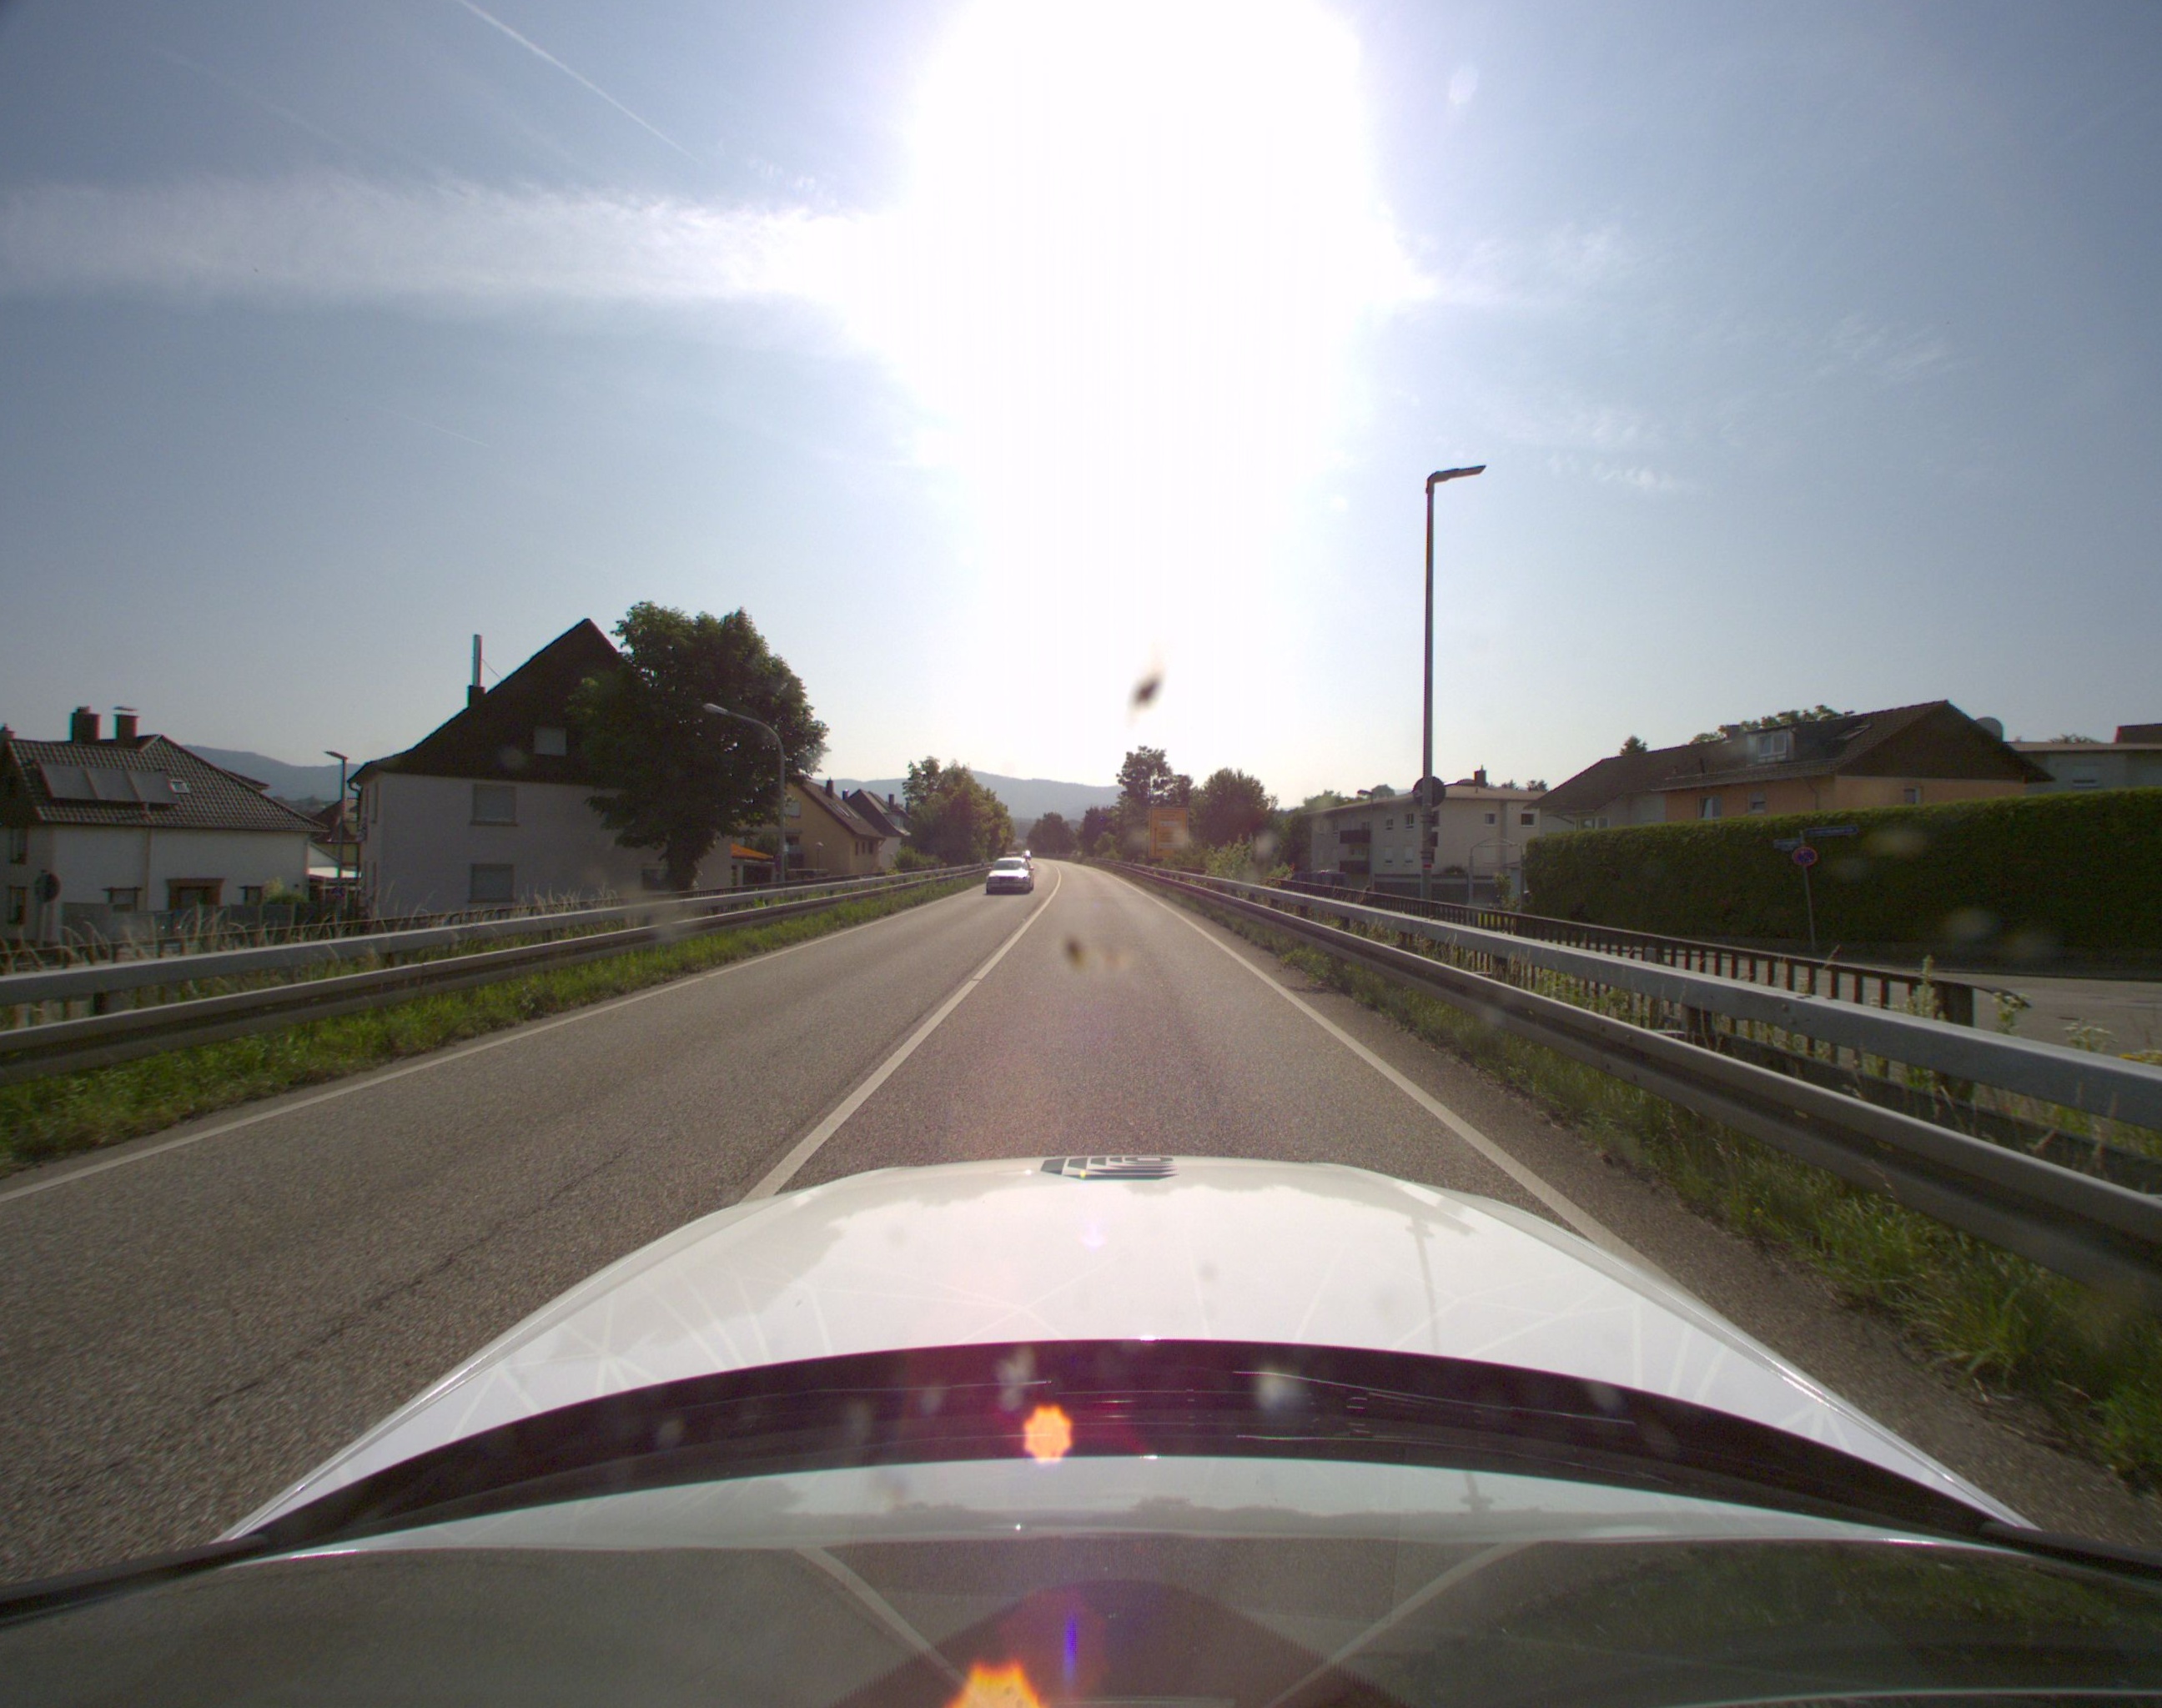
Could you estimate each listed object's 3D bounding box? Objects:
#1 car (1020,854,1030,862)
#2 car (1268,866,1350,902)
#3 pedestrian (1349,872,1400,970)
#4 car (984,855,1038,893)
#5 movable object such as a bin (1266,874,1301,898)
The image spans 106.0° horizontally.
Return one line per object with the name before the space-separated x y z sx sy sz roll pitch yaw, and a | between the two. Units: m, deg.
car | -10.491 0.749 151.744 1.804 1.561 3.988 -2 0 -3
car | 18.407 2.461 65.934 6.055 2.688 2.311 1 -4 -2
pedestrian | 6.297 1.411 17.514 0.784 2.014 0.998 0 0 4
car | -2.796 0.797 33.414 1.752 1.410 3.990 -2 0 1
movable object such as a bin | 18.298 2.918 73.615 2.776 2.013 1.586 2 0 -2
